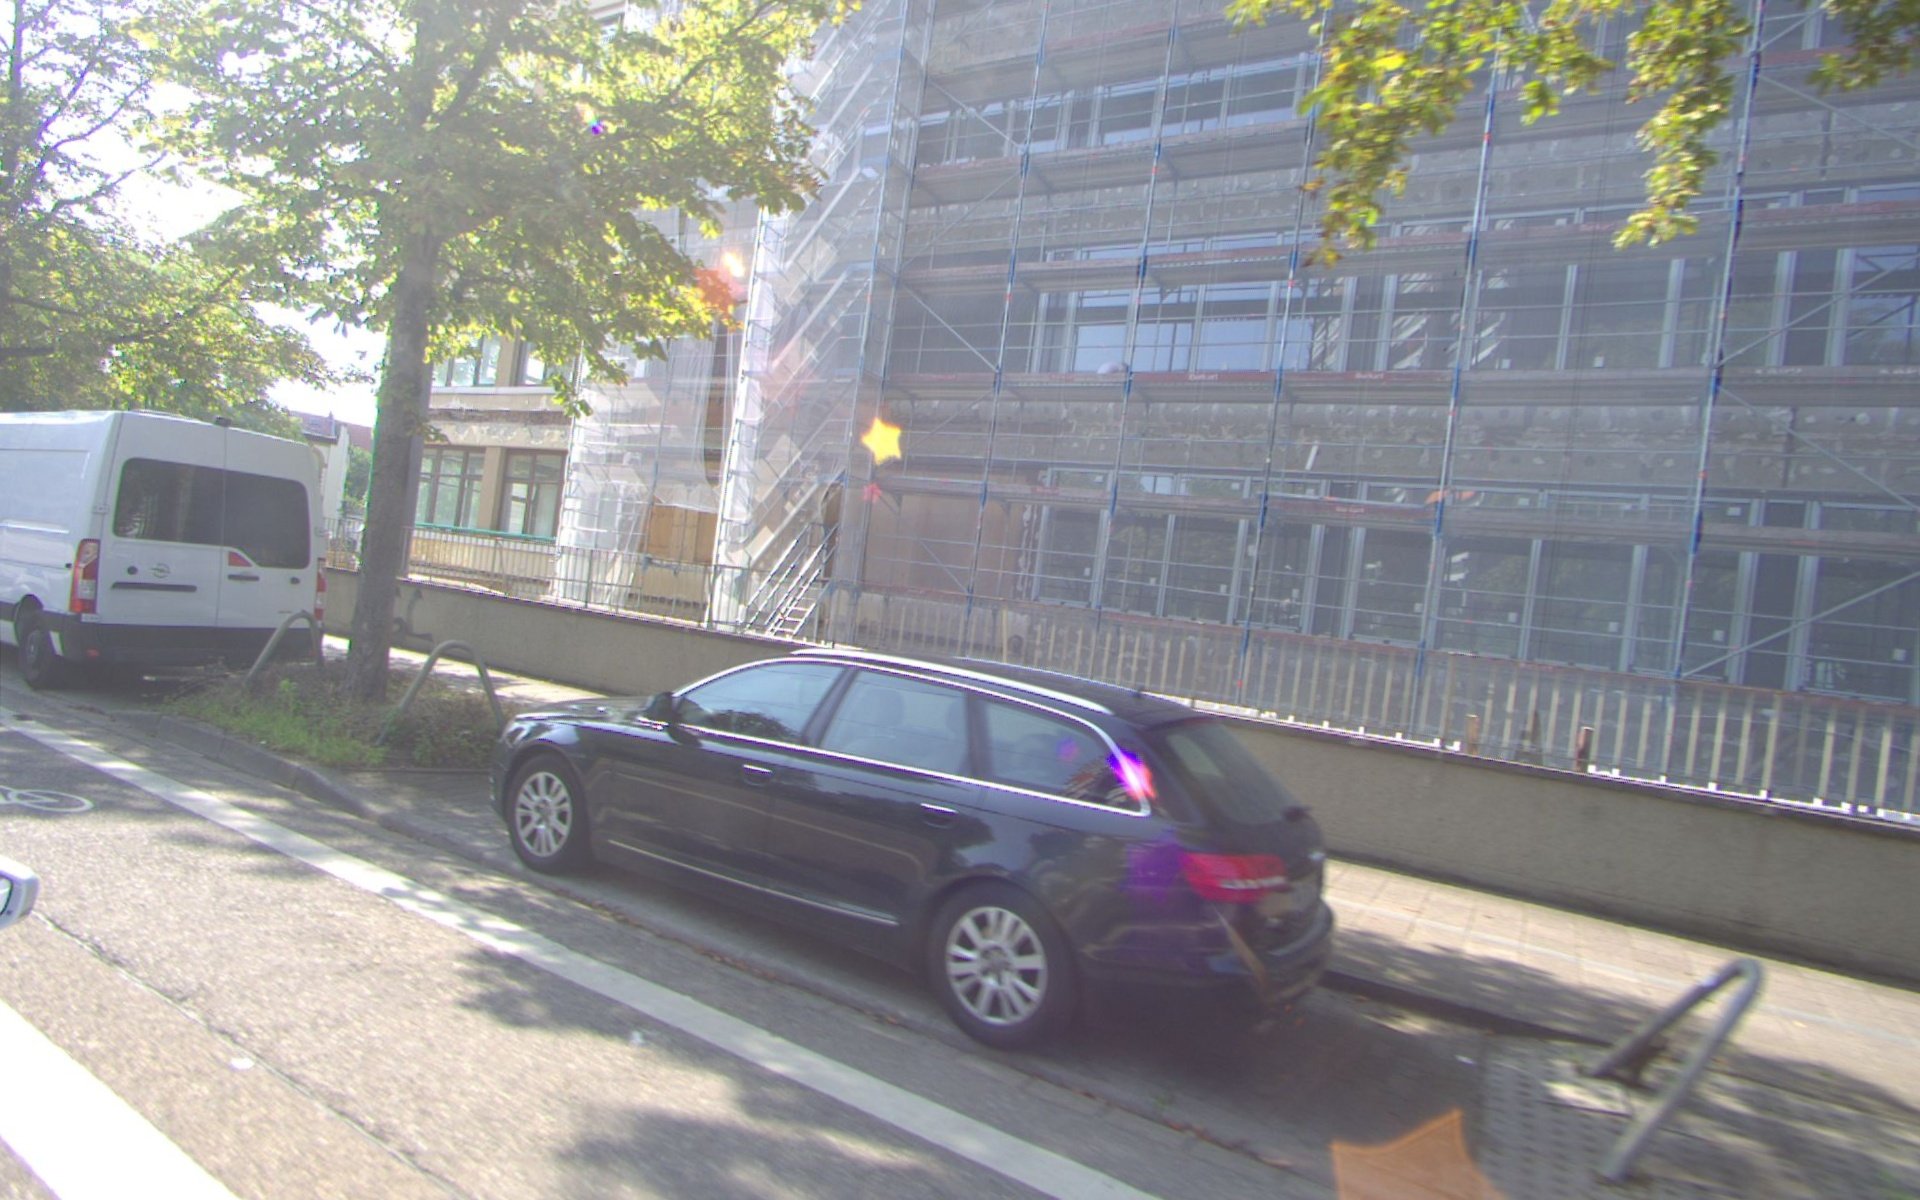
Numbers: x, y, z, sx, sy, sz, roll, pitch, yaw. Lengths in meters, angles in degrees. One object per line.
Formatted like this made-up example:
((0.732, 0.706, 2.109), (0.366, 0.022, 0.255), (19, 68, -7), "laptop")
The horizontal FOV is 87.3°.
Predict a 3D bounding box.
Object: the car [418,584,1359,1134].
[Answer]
((-0.626, 0.912, 5.276), (4.746, 1.391, 1.619), (7, 0, 31), "car")

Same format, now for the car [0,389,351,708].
((-8.994, -0.661, 10.404), (5.407, 2.587, 2.084), (7, 3, 29), "car")
